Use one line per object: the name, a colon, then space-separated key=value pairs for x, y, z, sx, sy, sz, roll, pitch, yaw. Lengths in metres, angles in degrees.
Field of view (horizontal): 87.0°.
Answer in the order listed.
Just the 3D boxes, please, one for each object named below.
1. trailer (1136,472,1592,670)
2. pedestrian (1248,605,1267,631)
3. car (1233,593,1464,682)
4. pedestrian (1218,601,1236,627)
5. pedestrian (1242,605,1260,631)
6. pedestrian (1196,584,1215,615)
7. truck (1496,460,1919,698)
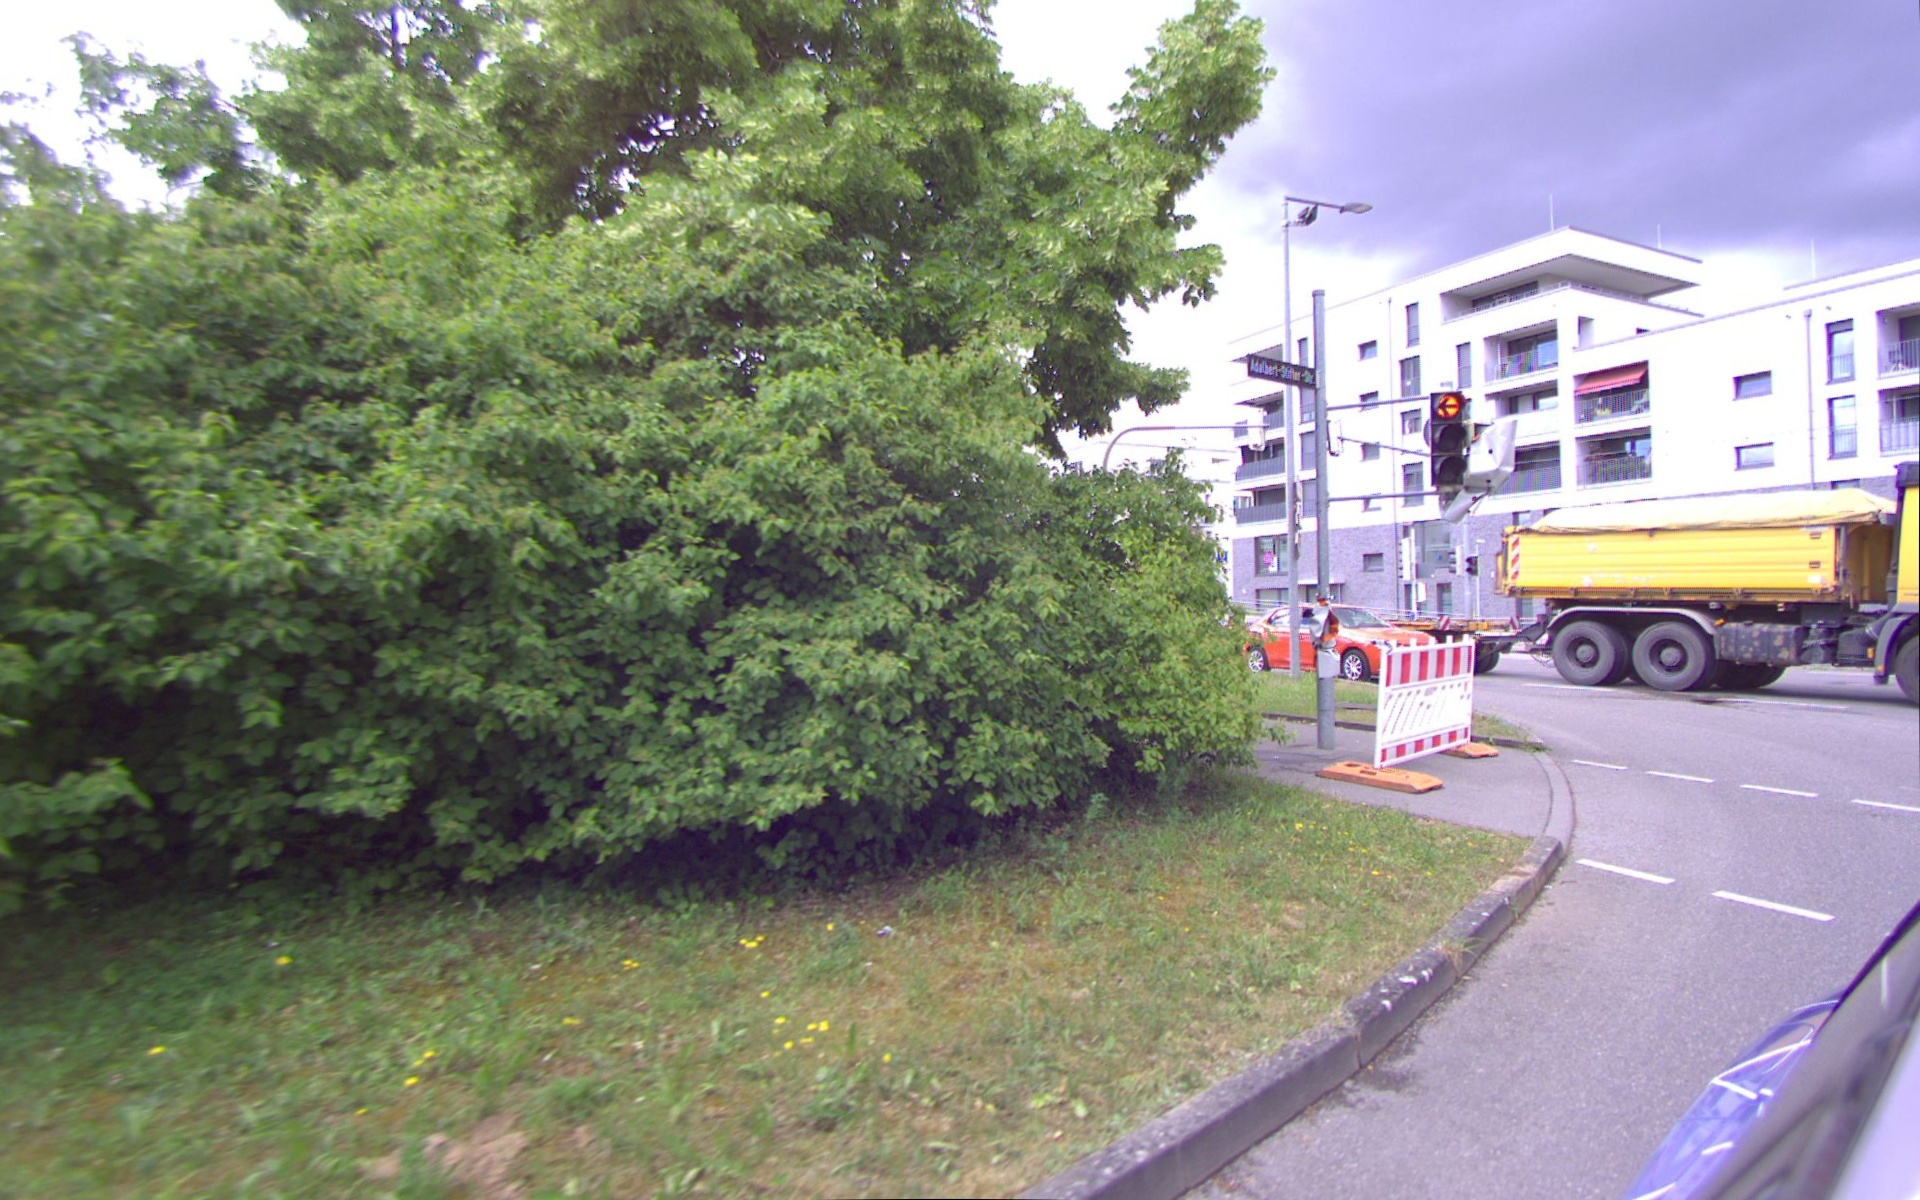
trailer: x=8.477 y=-0.503 z=23.695 sx=2.659 sy=3.566 sz=10.930 roll=0 pitch=0 yaw=-26
pedestrian: x=16.589 y=1.002 z=56.448 sx=0.701 sy=1.427 sz=0.671 roll=0 pitch=-1 yaw=-29
car: x=7.221 y=0.617 z=19.221 sx=1.659 sy=1.498 sz=4.005 roll=0 pitch=0 yaw=-27
pedestrian: x=14.883 y=0.792 z=56.473 sx=0.701 sy=1.427 sz=0.671 roll=0 pitch=-1 yaw=-29
pedestrian: x=15.934 y=0.998 z=55.451 sx=0.701 sy=1.427 sz=0.671 roll=0 pitch=-1 yaw=-29
pedestrian: x=13.930 y=-0.024 z=57.334 sx=0.701 sy=1.709 sz=0.766 roll=0 pitch=-1 yaw=-29
truck: x=12.582 y=-0.286 z=15.339 sx=2.673 sy=3.041 sz=7.791 roll=0 pitch=0 yaw=-26
